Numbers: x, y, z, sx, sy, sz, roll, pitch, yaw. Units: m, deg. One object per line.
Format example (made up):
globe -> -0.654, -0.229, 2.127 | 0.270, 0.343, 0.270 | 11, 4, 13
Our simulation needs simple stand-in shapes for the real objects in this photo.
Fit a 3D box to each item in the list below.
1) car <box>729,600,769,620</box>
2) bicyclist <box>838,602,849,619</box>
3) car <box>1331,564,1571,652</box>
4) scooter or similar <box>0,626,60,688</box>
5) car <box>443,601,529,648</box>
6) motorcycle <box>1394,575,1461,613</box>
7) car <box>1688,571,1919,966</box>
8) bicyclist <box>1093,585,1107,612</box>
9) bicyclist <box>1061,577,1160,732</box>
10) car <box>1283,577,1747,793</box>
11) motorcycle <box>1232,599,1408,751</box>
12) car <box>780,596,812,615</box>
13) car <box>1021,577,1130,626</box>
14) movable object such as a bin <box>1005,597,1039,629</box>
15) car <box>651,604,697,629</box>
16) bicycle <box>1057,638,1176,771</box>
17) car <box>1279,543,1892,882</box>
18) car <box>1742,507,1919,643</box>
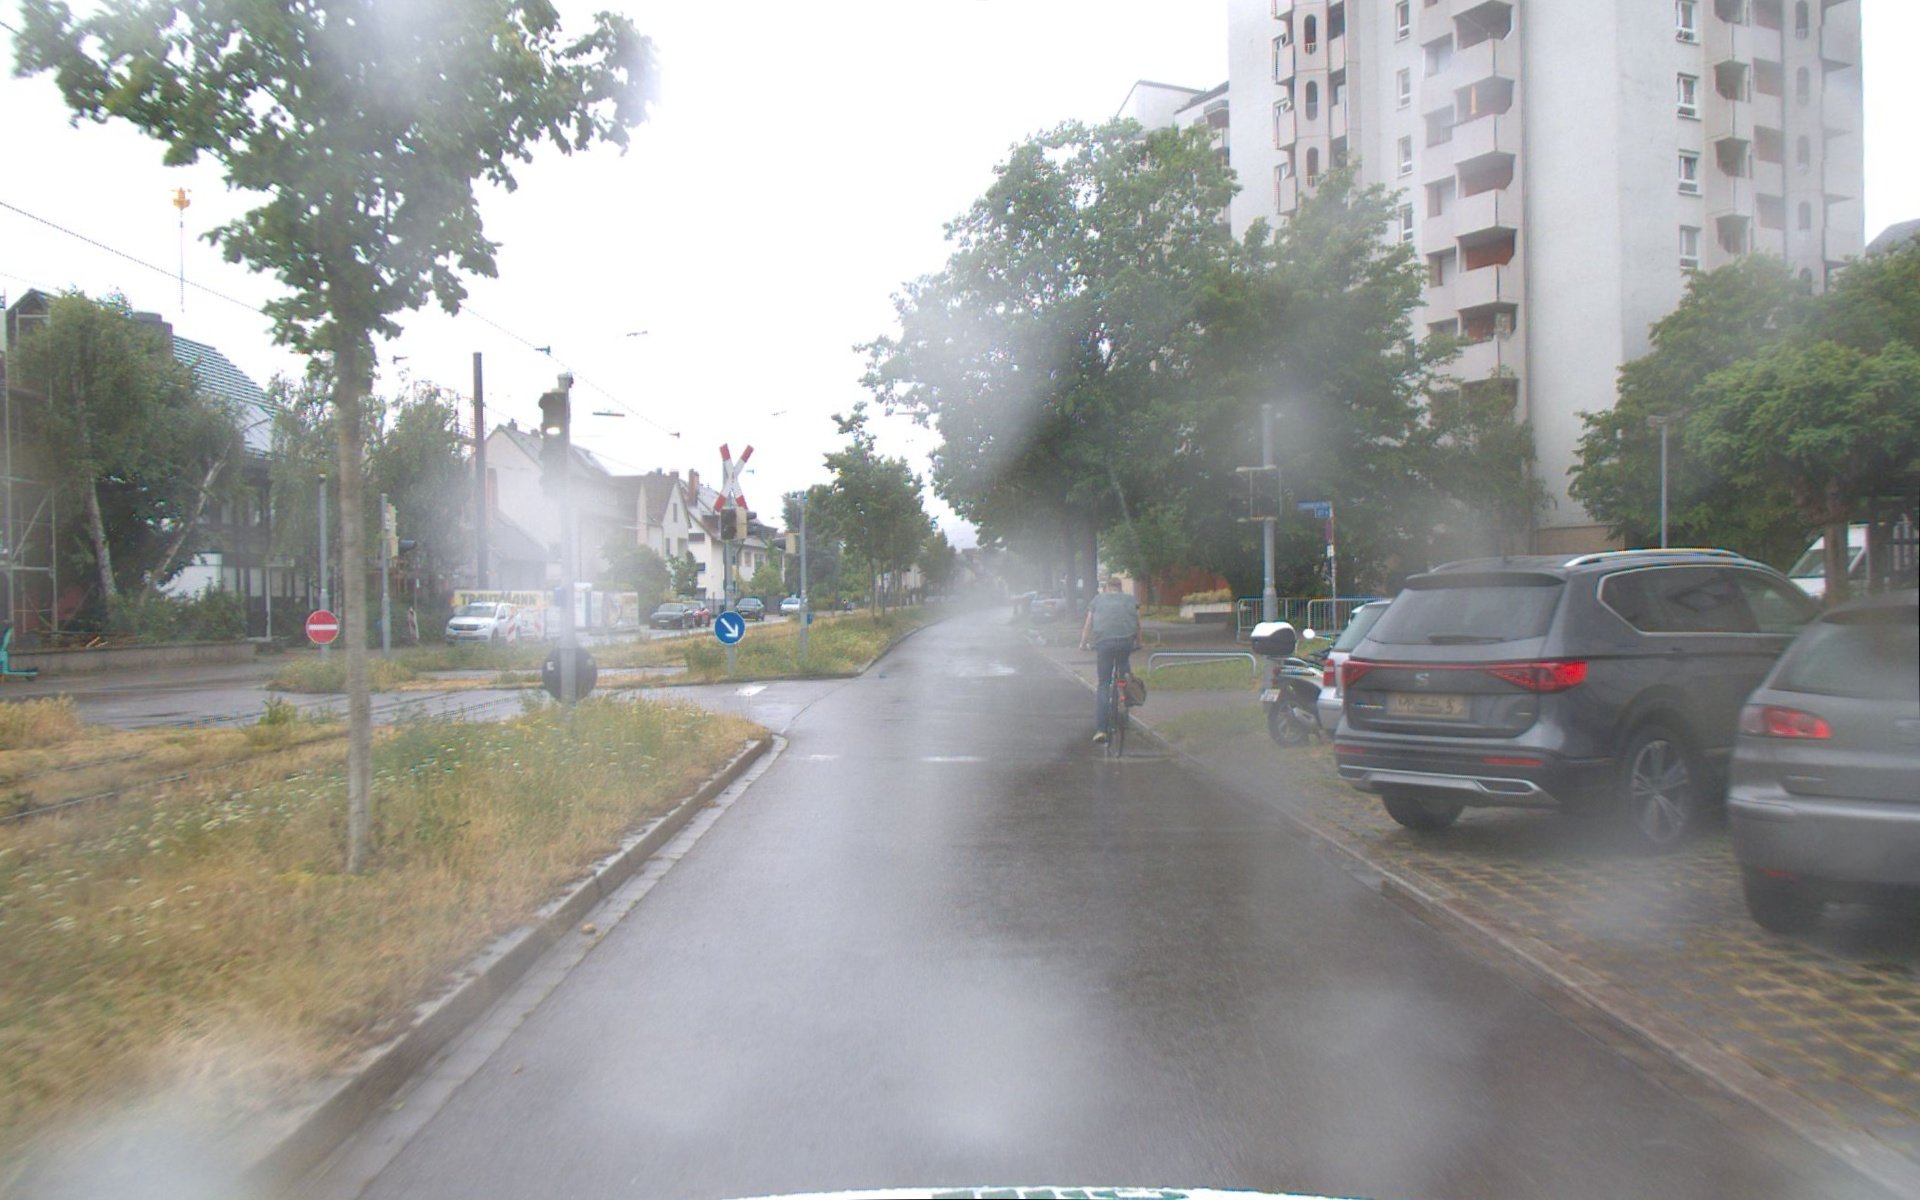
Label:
car -> -14.668, 0.691, 115.160 | 1.857, 1.266, 4.690 | 1, 0, 4
bicyclist -> -11.883, 1.073, 169.336 | 0.997, 1.715, 1.092 | -2, 0, 1
car -> 10.787, 0.150, 36.445 | 4.723, 1.776, 1.992 | -1, 0, -15
scooter or similar -> -19.138, 1.161, 33.937 | 0.385, 1.201, 1.284 | -1, 0, 15
car -> -17.111, 0.867, 59.939 | 1.674, 1.569, 4.423 | 1, 0, 2
motorcycle -> 16.959, -0.197, 60.079 | 0.876, 1.311, 2.273 | -2, 0, -36
car -> 5.040, 0.581, 7.478 | 3.966, 1.454, 1.708 | -2, 1, -42
bicyclist -> 8.579, -0.109, 101.365 | 0.719, 1.621, 0.945 | -2, 0, 1
bicyclist -> 1.474, 0.519, 16.346 | 0.793, 1.458, 1.059 | -2, 0, -3
car -> 4.791, 0.620, 14.058 | 4.081, 1.447, 1.716 | -3, 1, -37
motorcycle -> 3.570, 0.706, 16.350 | 1.761, 1.360, 0.680 | -3, 1, -37
car -> -13.598, 0.473, 137.488 | 1.857, 1.495, 4.690 | 1, 0, 4
car -> 4.853, 0.042, 69.418 | 4.095, 1.748, 1.979 | -5, 2, -31
movable object such as a bin -> 3.089, 0.646, 82.496 | 1.109, 1.482, 1.393 | -7, 2, -20
car -> -15.385, 0.854, 89.122 | 1.629, 1.266, 4.072 | 1, 0, 1
bicycle -> 1.497, 0.980, 16.318 | 0.793, 1.116, 2.516 | -2, 0, -3
car -> 4.087, 0.528, 10.439 | 4.313, 1.680, 1.830 | -2, 0, -42
car -> 21.614, -0.609, 38.782 | 5.955, 3.015, 2.122 | -1, 0, -15
